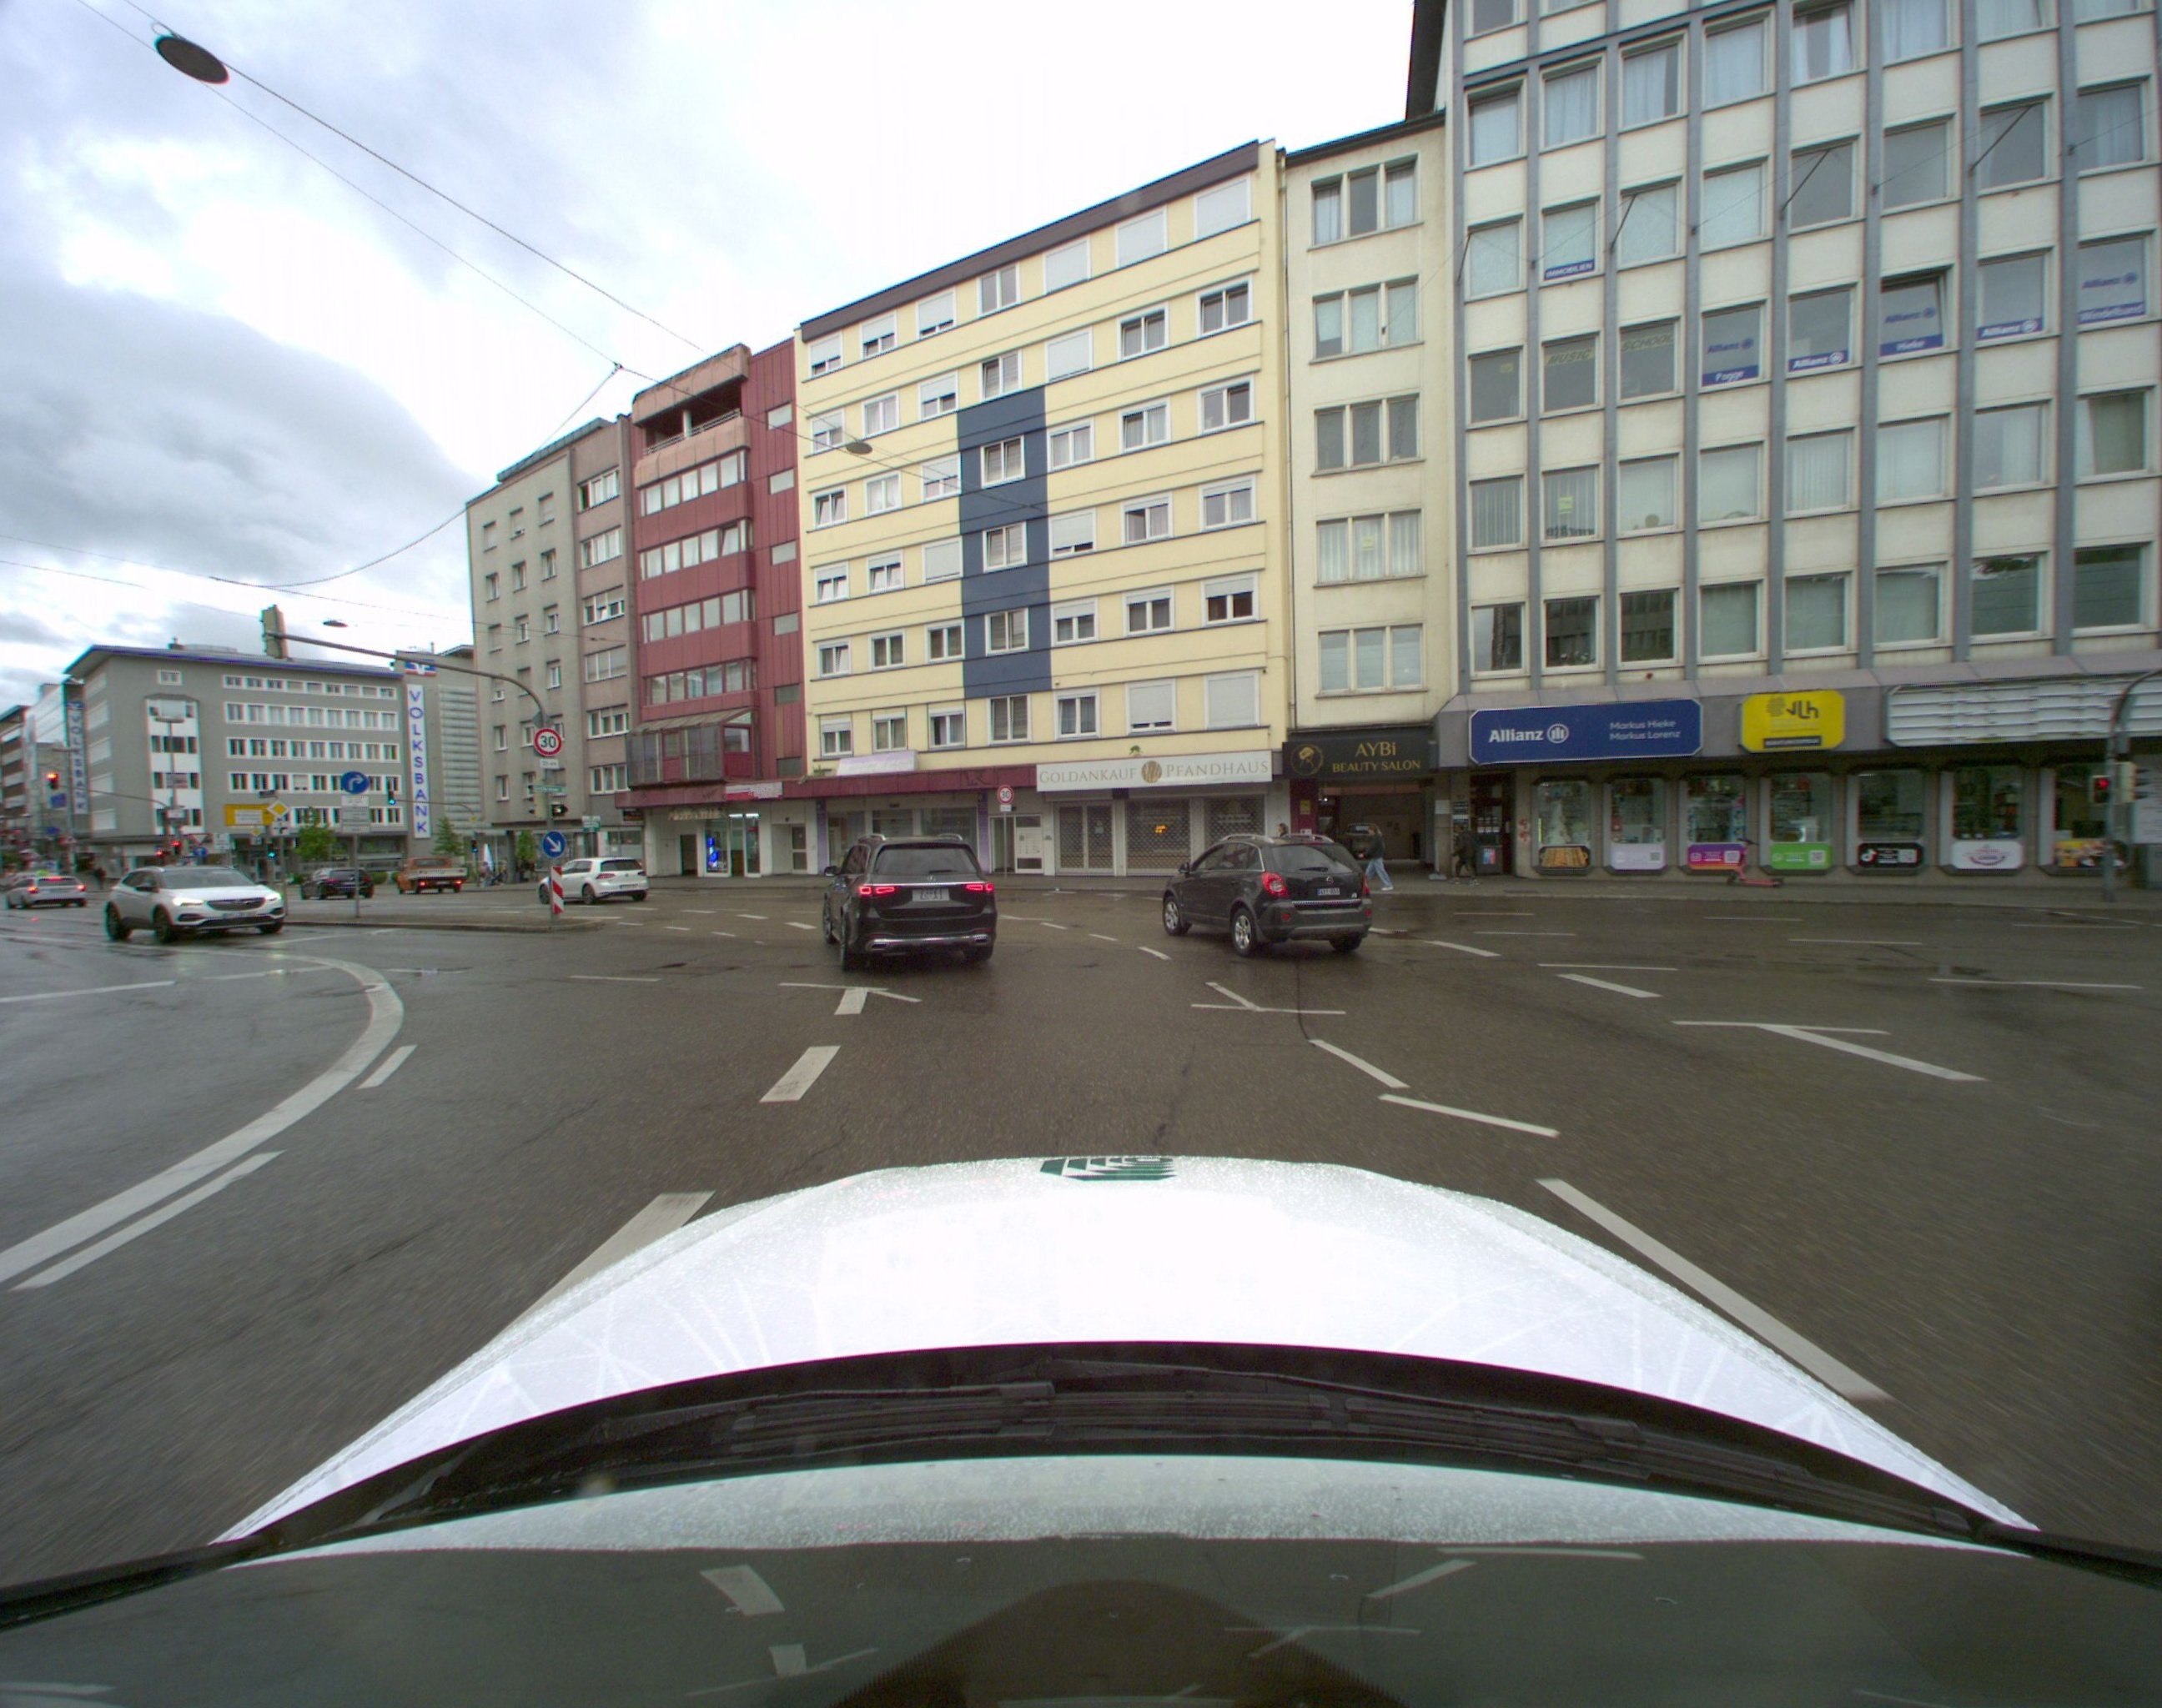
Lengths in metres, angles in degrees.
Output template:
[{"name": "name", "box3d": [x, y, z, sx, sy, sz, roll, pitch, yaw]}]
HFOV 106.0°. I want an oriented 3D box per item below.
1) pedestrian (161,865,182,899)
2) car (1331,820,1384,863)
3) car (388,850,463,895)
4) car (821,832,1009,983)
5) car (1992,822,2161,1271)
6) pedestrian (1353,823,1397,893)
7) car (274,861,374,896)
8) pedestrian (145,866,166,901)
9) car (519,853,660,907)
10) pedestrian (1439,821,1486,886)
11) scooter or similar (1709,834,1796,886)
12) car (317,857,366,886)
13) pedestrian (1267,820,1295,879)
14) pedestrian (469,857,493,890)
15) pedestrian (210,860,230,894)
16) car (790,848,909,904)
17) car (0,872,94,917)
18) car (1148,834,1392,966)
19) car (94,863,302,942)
[{"name": "pedestrian", "box3d": [-55.196, 1.691, 49.408, 0.844, 2.014, 0.819, -2, -1, 41]}, {"name": "car", "box3d": [11.832, -0.493, 35.054, 1.784, 1.670, 4.015, -2, -1, 14]}, {"name": "car", "box3d": [-34.483, 0.924, 42.804, 5.360, 2.228, 2.263, 0, -1, 43]}, {"name": "car", "box3d": [-2.722, 0.601, 12.335, 2.046, 1.798, 4.630, -1, 1, -21]}, {"name": "car", "box3d": [4.312, 0.635, 1.151, 1.681, 1.477, 4.003, -2, 1, 3]}, {"name": "pedestrian", "box3d": [7.941, 0.095, 22.011, 1.022, 1.798, 0.834, -1, 5, 14]}, {"name": "car", "box3d": [-34.419, 1.122, 37.037, 4.183, 1.486, 2.012, -2, -1, 27]}, {"name": "pedestrian", "box3d": [-54.227, 1.698, 47.730, 0.844, 2.014, 0.819, -2, -1, 41]}, {"name": "car", "box3d": [-15.928, 0.784, 26.366, 4.344, 1.494, 1.892, 0, 5, 29]}, {"name": "pedestrian", "box3d": [10.397, -0.030, 22.234, 1.023, 1.688, 0.834, -1, 5, 14]}, {"name": "scooter or similar", "box3d": [16.780, 0.137, 20.398, 1.499, 1.210, 0.624, 2, 6, 21]}, {"name": "car", "box3d": [-42.325, 0.987, 46.657, 1.941, 1.515, 4.607, 3, -2, -42]}, {"name": "pedestrian", "box3d": [5.973, -0.145, 24.312, 0.747, 1.688, 0.568, -1, 5, 14]}, {"name": "pedestrian", "box3d": [-37.212, 1.186, 50.490, 0.808, 2.014, 0.855, -1, -1, 2]}, {"name": "pedestrian", "box3d": [-53.015, 1.415, 50.156, 0.844, 2.014, 0.819, -2, -1, 41]}, {"name": "car", "box3d": [-6.562, 0.613, 22.821, 1.781, 1.397, 3.953, -1, -1, -39]}, {"name": "car", "box3d": [-47.428, 1.792, 37.247, 4.676, 1.789, 2.012, 1, 0, 28]}, {"name": "car", "box3d": [2.752, 0.553, 13.046, 1.901, 1.694, 4.482, -1, 1, -15]}, {"name": "car", "box3d": [-20.513, 1.074, 18.899, 4.676, 1.556, 2.012, -2, 1, 27]}]
